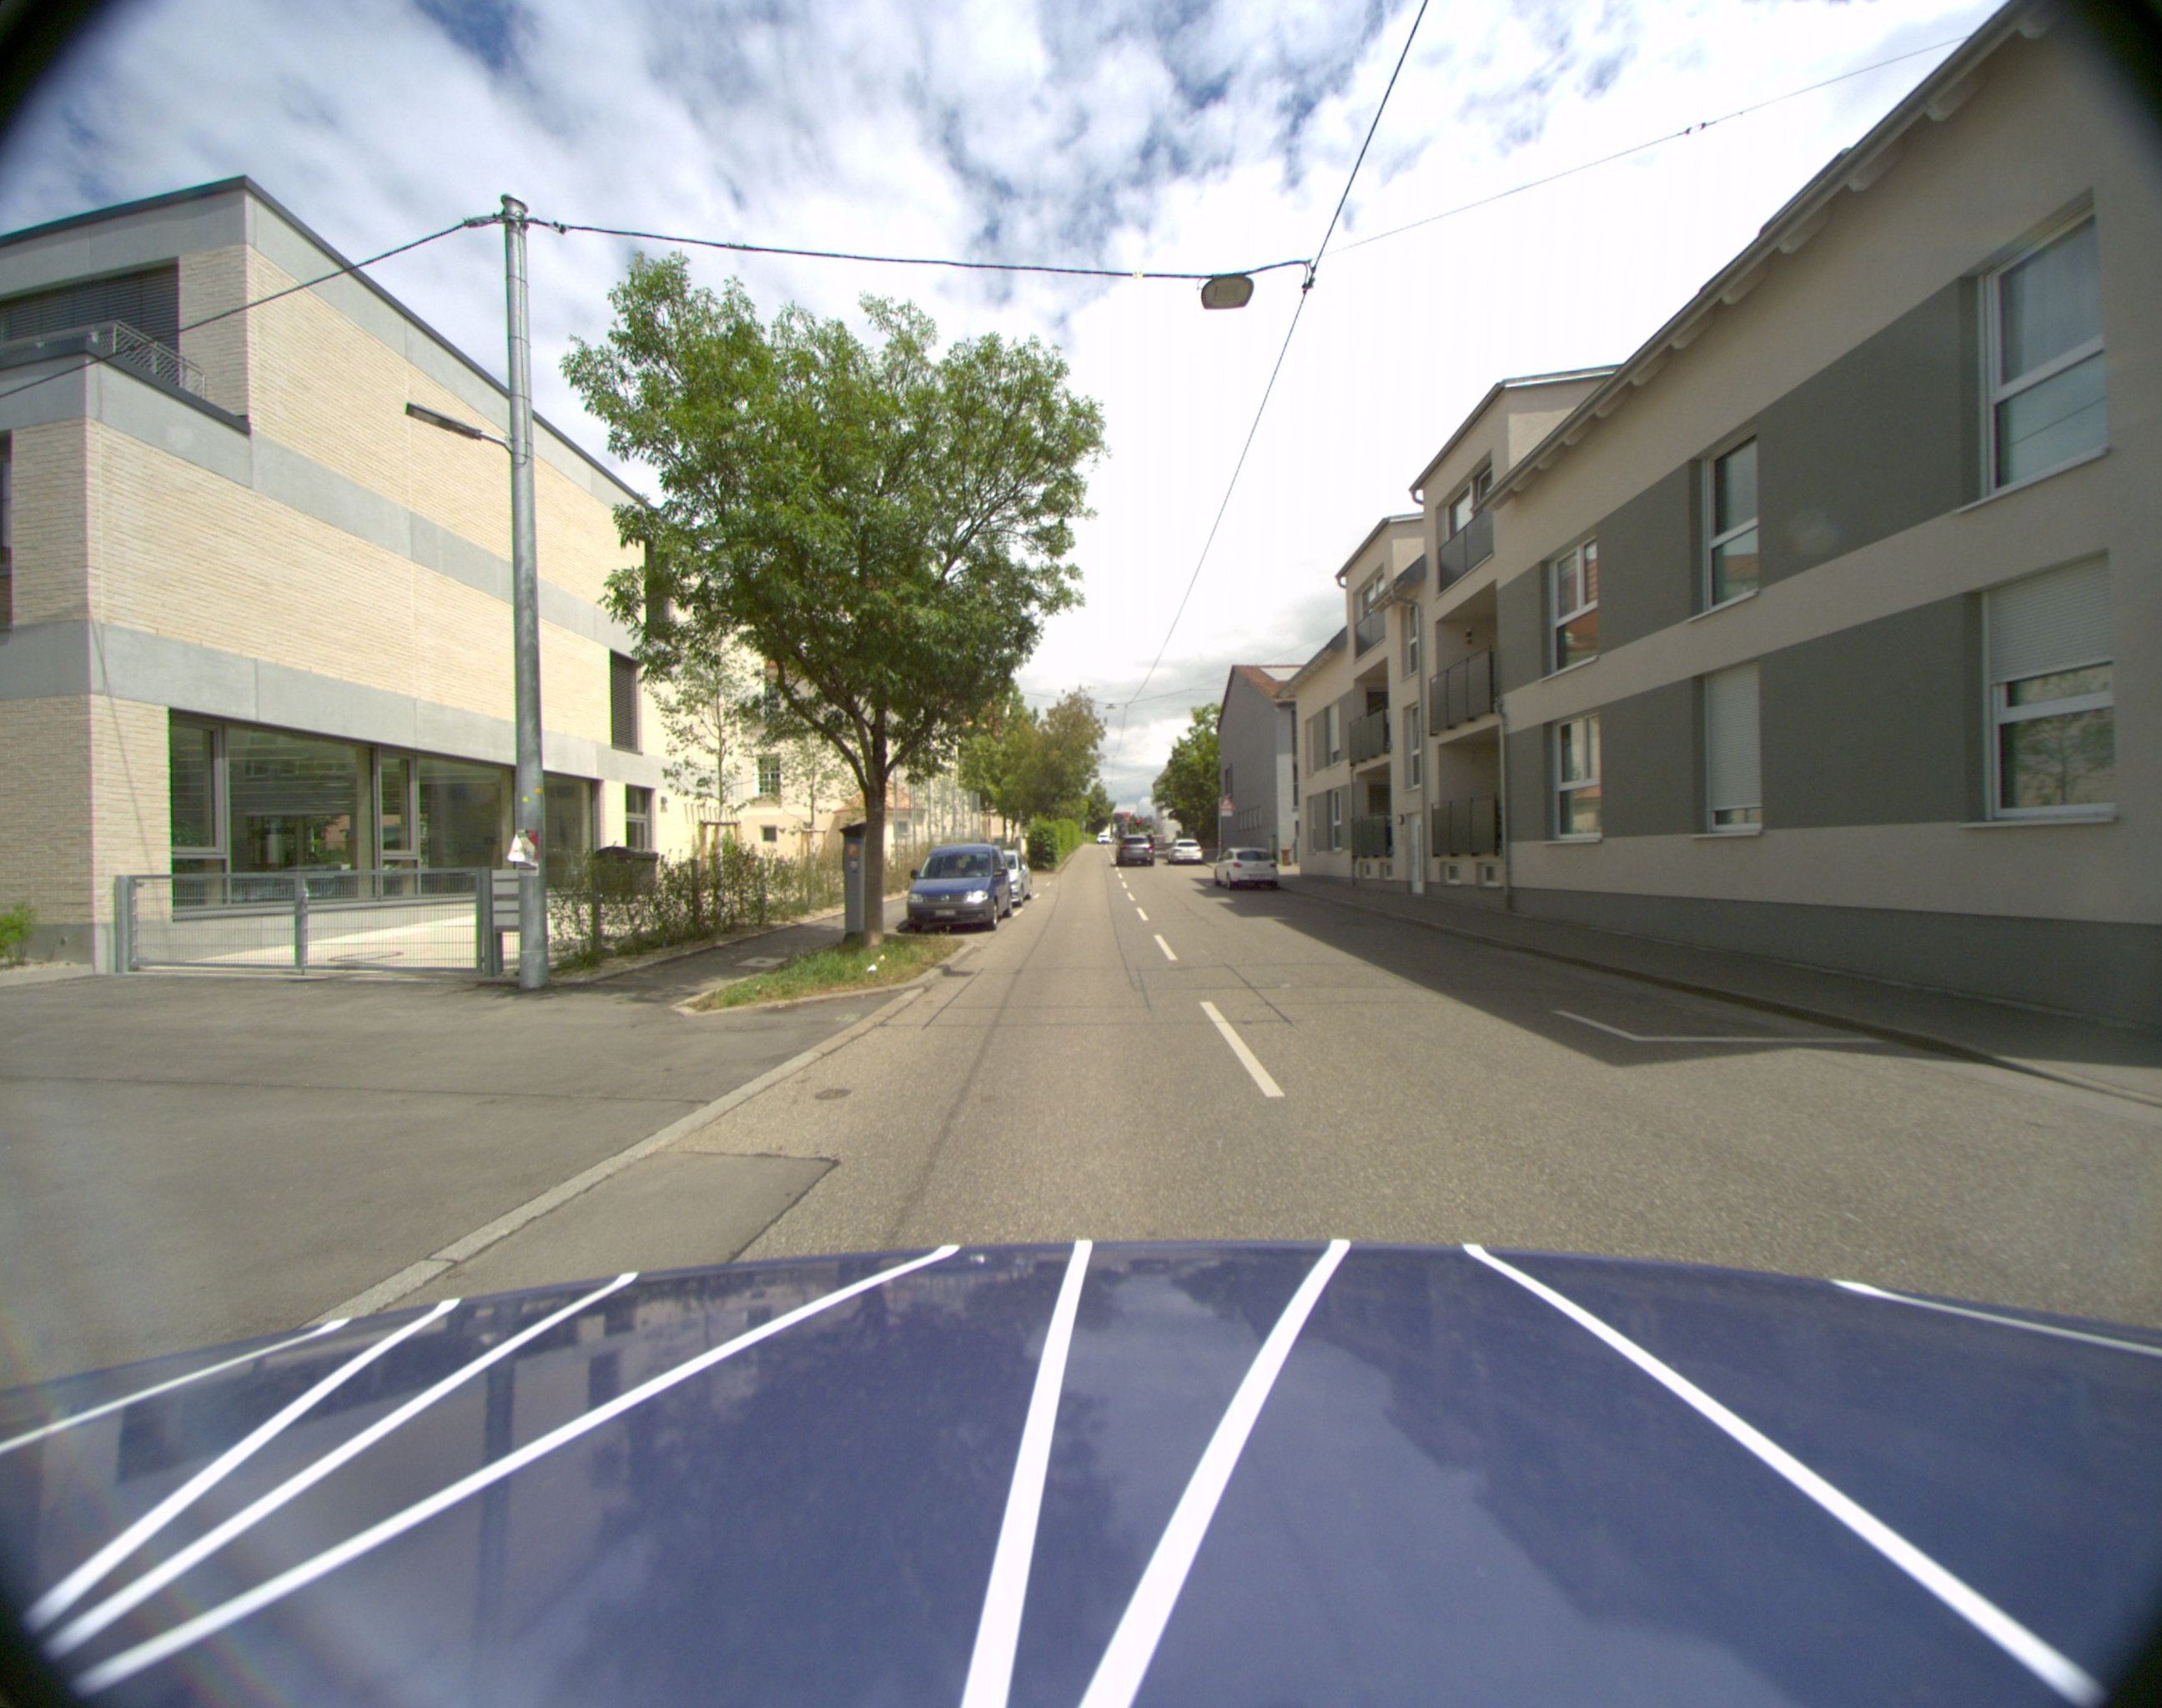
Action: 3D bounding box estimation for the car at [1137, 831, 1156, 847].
[{"bbox_3d":[6.678,-1.597,78.016,1.672,1.545,3.964,0,2,1],"label":"car"}]

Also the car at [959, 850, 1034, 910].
[{"bbox_3d":[-2.371,0.694,22.210,1.677,1.510,3.669,-1,1,1],"label":"car"}]

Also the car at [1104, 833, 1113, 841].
[{"bbox_3d":[4.317,-2.608,119.839,1.298,1.148,2.983,-1,0,1],"label":"car"}]

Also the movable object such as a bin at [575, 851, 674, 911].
[{"bbox_3d":[-11.628,0.654,19.439,1.351,1.438,1.807,-1,1,2],"label":"movable object such as a bin"}]

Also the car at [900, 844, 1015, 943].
[{"bbox_3d":[-2.512,0.718,16.459,1.698,1.734,4.157,-1,3,1],"label":"car"}]

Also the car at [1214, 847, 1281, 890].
[{"bbox_3d":[5.812,0.462,26.824,1.665,1.322,3.473,-1,2,1],"label":"car"}]

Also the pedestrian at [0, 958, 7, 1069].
[{"bbox_3d":[-9.108,0.897,5.714,0.775,1.693,0.829,-2,1,0],"label":"pedestrian"}]

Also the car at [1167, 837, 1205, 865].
[{"bbox_3d":[6.156,-0.223,44.776,1.737,1.480,4.065,0,2,1],"label":"car"}]

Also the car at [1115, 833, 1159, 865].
[{"bbox_3d":[3.158,-0.259,43.685,1.946,1.709,4.595,0,0,-3],"label":"car"}]
